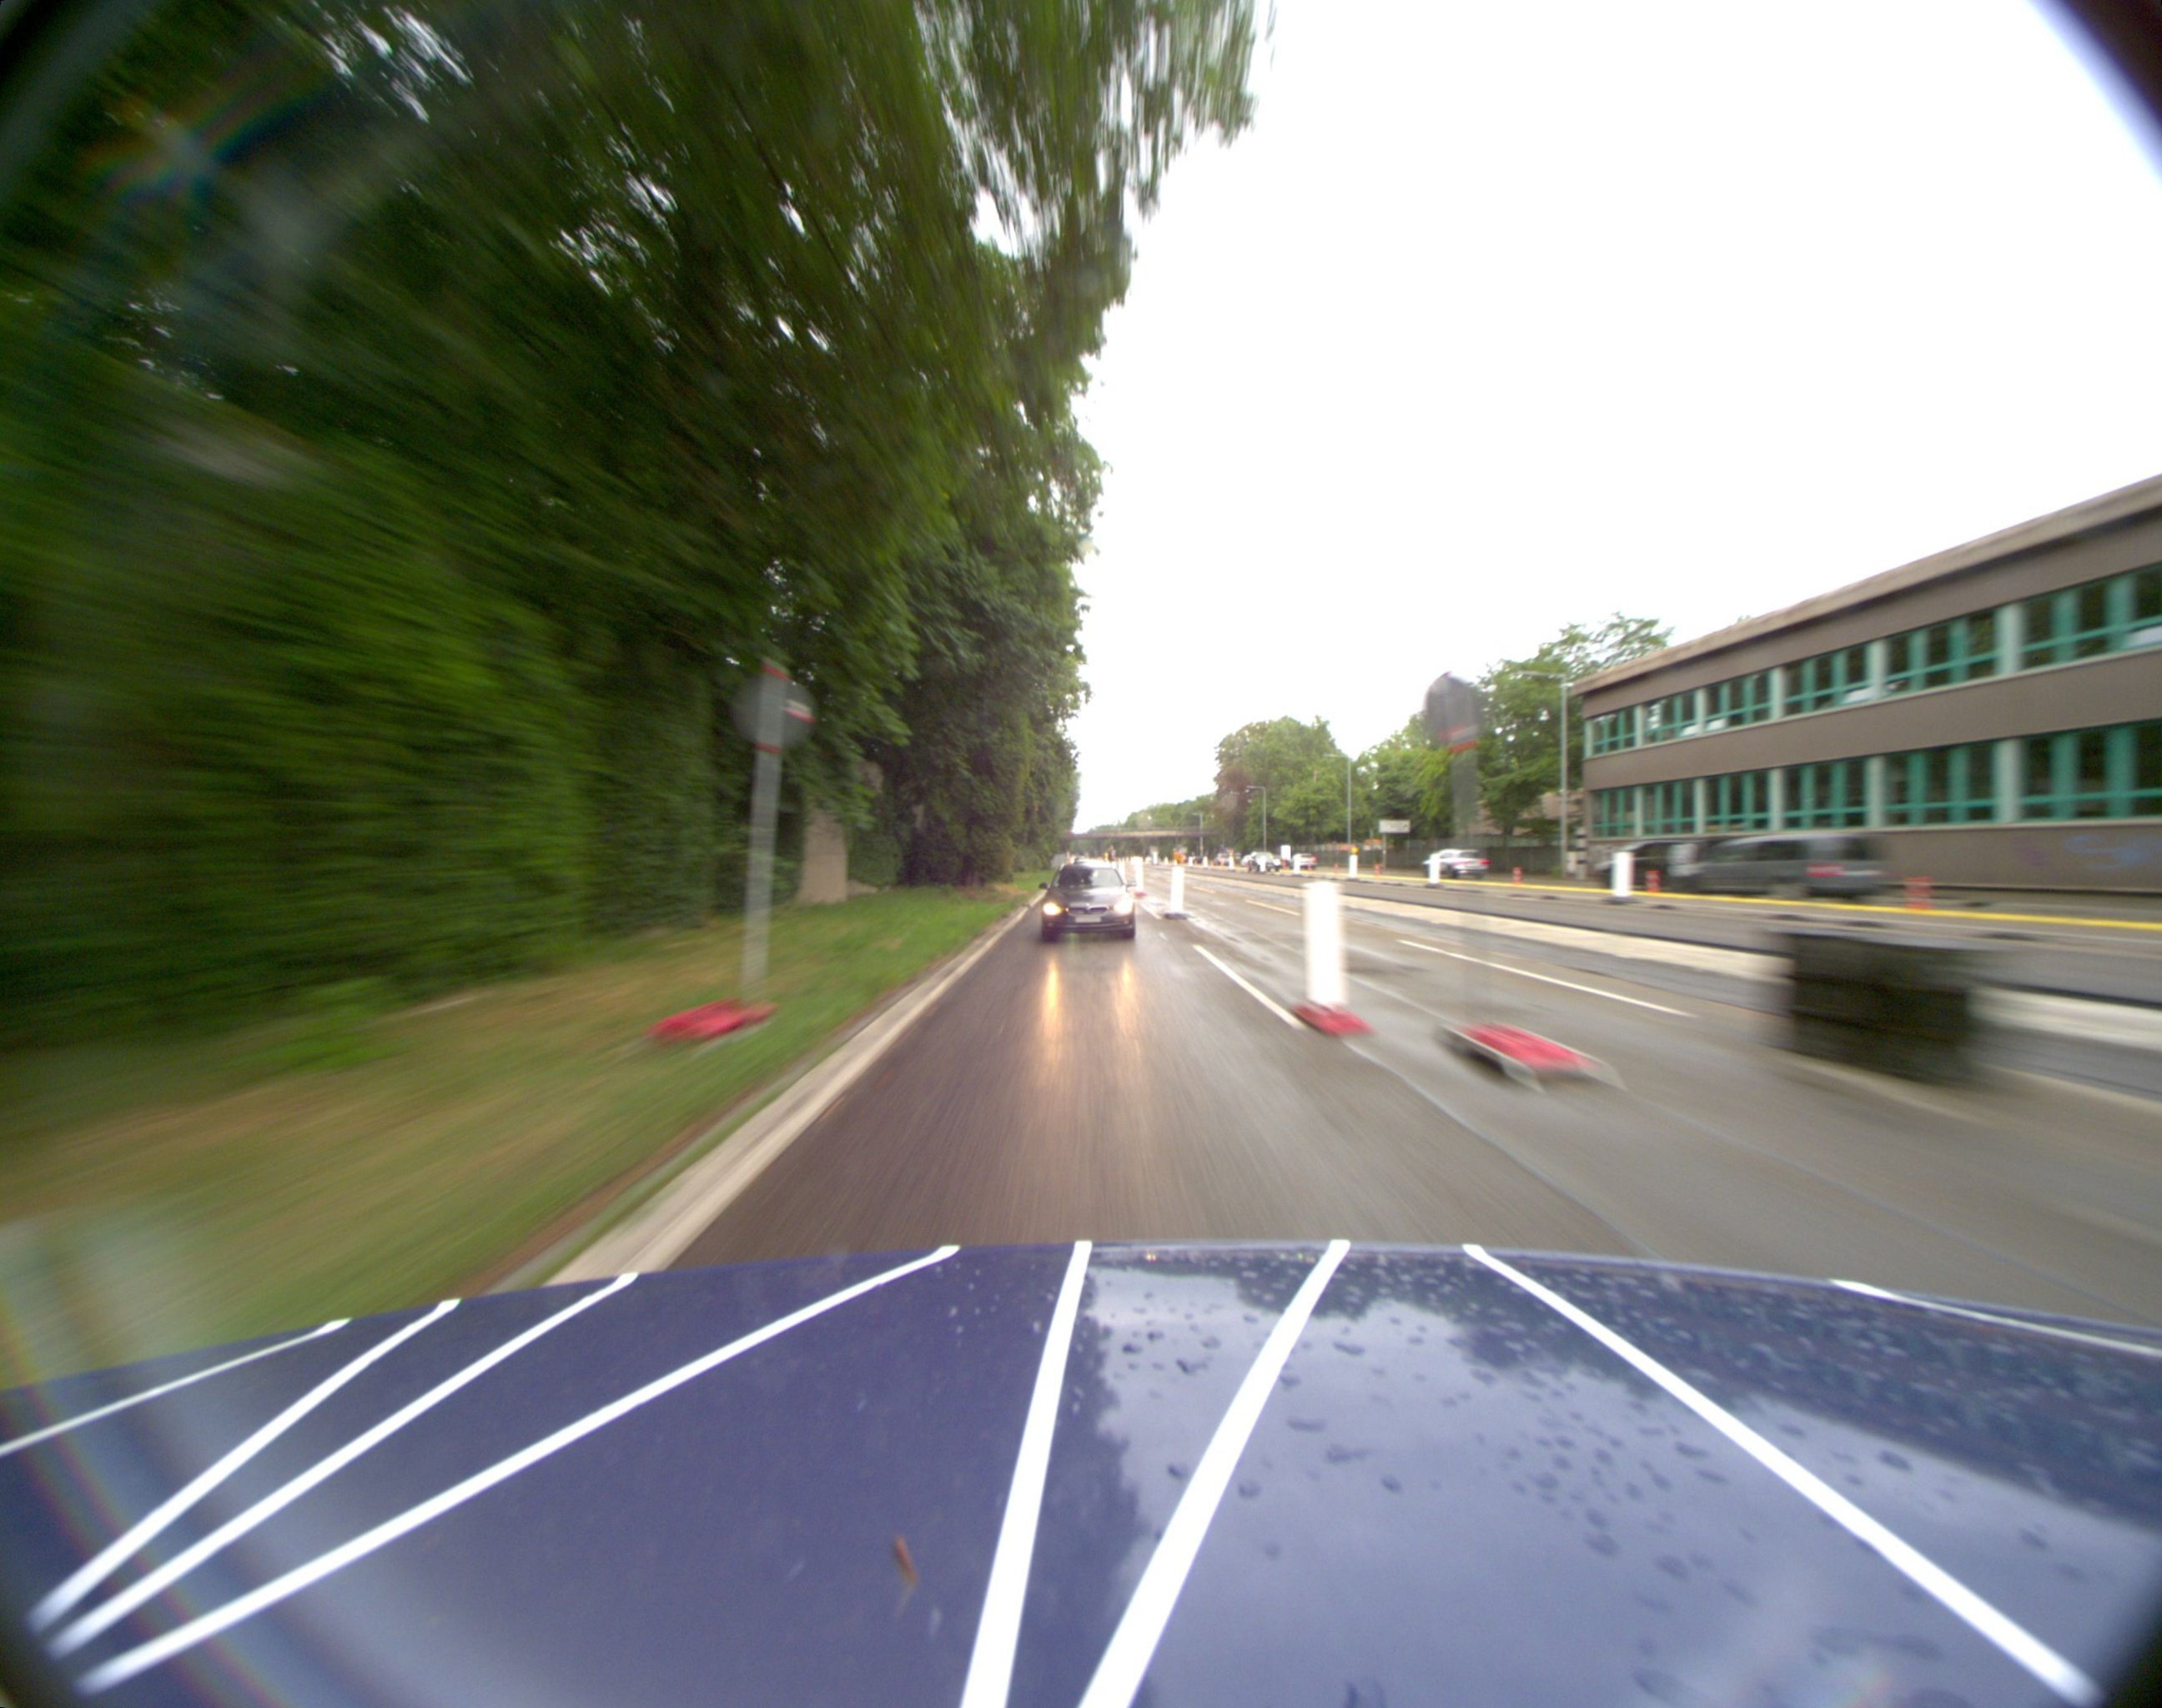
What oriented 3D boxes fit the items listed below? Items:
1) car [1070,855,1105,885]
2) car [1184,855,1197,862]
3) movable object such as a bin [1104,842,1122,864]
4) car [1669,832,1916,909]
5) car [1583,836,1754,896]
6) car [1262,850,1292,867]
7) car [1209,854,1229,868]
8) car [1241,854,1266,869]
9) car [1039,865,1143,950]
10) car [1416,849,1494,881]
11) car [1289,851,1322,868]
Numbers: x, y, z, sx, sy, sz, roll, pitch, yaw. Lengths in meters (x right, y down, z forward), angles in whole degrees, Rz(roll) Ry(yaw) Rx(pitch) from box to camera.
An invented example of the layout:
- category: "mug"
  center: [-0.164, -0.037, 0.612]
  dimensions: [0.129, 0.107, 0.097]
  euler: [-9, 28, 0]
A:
- category: "car"
  center: [0.411, 0.961, 46.910]
  dimensions: [1.998, 1.650, 4.229]
  euler: [-2, 0, 0]
- category: "car"
  center: [22.130, 0.847, 153.839]
  dimensions: [1.999, 1.421, 4.265]
  euler: [-1, 0, -1]
- category: "movable object such as a bin"
  center: [7.105, -0.223, 169.295]
  dimensions: [3.527, 4.495, 10.069]
  euler: [-2, 0, 0]
- category: "car"
  center: [18.844, 0.390, 20.558]
  dimensions: [1.999, 1.770, 4.953]
  euler: [-2, 0, -1]
- category: "car"
  center: [21.025, 0.392, 27.569]
  dimensions: [1.999, 1.908, 5.363]
  euler: [-2, 0, -1]
- category: "car"
  center: [19.021, 0.423, 73.935]
  dimensions: [1.898, 1.493, 4.516]
  euler: [-2, 0, 2]
- category: "car"
  center: [18.344, 0.860, 101.173]
  dimensions: [1.993, 1.758, 4.674]
  euler: [-2, 0, 2]
- category: "car"
  center: [19.272, 0.807, 85.024]
  dimensions: [1.808, 1.525, 3.991]
  euler: [-2, 0, 0]
- category: "car"
  center: [0.140, 0.991, 15.704]
  dimensions: [1.838, 1.397, 3.999]
  euler: [-2, 0, -1]
- category: "car"
  center: [21.317, 0.585, 43.558]
  dimensions: [1.943, 1.696, 4.934]
  euler: [-2, 0, -1]
- category: "car"
  center: [22.025, 0.492, 74.708]
  dimensions: [1.998, 1.577, 4.179]
  euler: [-2, 0, 0]
